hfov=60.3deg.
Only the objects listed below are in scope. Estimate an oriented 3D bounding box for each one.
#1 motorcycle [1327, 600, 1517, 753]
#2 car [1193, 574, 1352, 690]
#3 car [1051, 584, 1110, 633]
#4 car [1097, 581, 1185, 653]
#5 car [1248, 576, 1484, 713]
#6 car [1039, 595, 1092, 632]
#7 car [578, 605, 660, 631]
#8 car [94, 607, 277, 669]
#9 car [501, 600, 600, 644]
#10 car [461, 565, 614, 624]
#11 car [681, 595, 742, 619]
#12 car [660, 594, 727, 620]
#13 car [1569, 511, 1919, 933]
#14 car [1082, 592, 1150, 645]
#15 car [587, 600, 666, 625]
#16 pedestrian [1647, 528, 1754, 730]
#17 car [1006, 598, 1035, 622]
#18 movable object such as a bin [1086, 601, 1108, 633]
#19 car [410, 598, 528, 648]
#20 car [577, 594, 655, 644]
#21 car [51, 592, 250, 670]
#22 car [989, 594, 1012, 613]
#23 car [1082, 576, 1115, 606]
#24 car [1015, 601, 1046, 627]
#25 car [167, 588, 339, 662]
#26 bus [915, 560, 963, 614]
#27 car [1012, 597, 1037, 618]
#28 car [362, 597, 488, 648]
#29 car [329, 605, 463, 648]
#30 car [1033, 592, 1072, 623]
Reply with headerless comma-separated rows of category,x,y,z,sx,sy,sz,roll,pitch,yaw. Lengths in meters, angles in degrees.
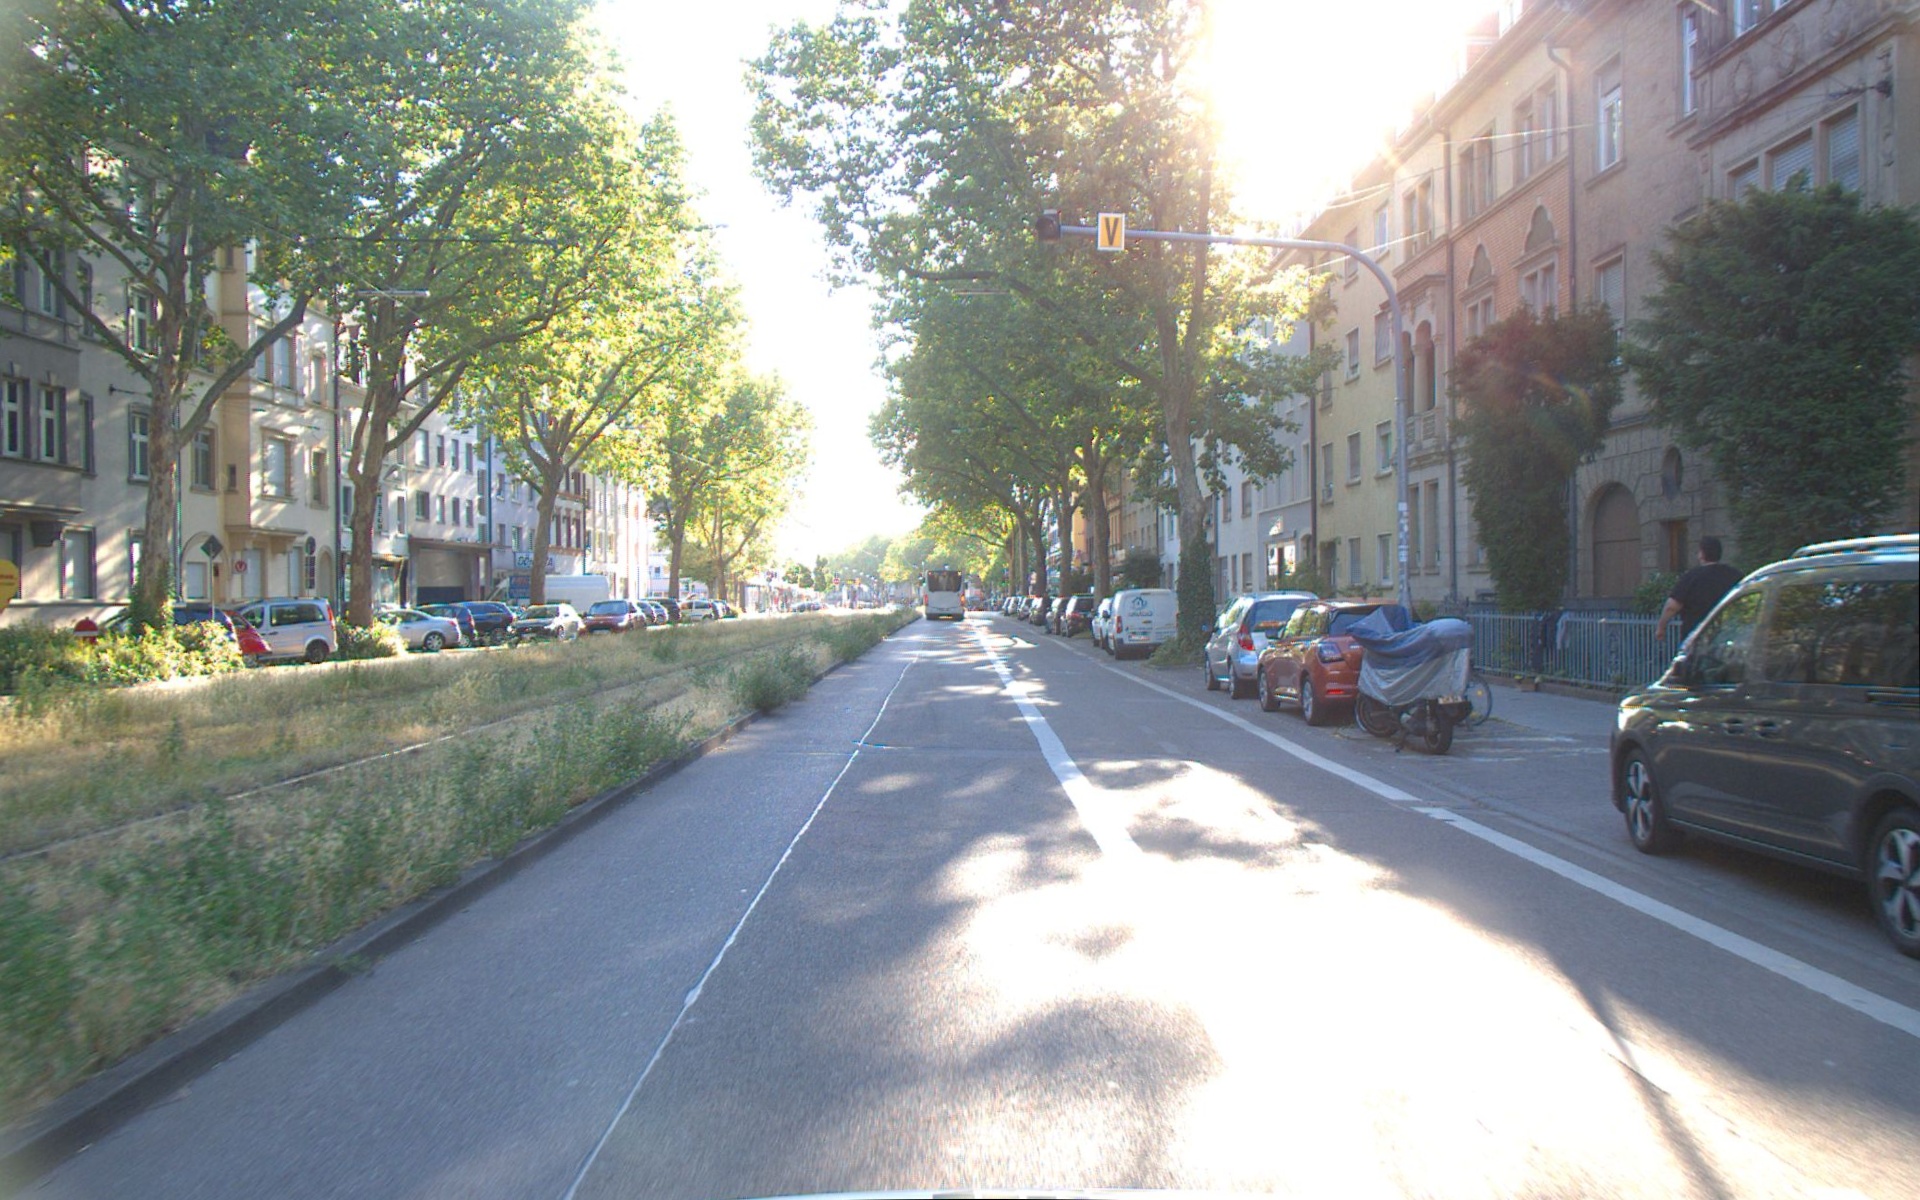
motorcycle,4.704,0.730,17.066,0.809,1.422,2.372,-2,1,-13
car,4.944,0.496,26.647,1.709,1.720,3.850,0,-1,-2
car,4.547,0.339,63.019,1.709,1.801,4.986,0,-1,-2
car,4.738,0.463,43.861,1.709,1.801,4.392,0,-1,-2
car,5.110,0.541,21.376,1.953,1.587,3.978,0,-1,-2
car,4.425,0.584,69.865,1.652,1.512,3.996,0,-1,-5
car,-19.529,1.021,94.847,4.274,1.483,1.830,0,-1,-41
car,-19.535,0.930,41.789,3.962,1.474,1.563,0,-1,-40
car,-14.546,0.784,59.047,1.708,1.485,4.928,-1,-1,8
car,-20.081,-0.234,78.622,6.839,2.725,2.171,0,-1,-22
car,-18.715,0.546,124.511,4.274,1.768,1.830,0,-1,-41
car,-18.400,0.462,114.084,4.274,1.768,1.830,0,-1,-41
car,5.162,0.548,8.816,1.953,1.862,4.755,0,-1,-2
car,4.692,0.525,50.233,1.612,1.512,3.999,-1,0,-1
car,-19.782,0.738,98.088,4.274,1.483,1.830,0,-1,-41
pedestrian,7.414,0.279,16.589,0.696,1.971,0.815,0,0,0
car,4.050,0.656,111.820,1.744,1.542,3.999,-1,0,-1
movable object such as a bin,4.729,0.583,57.149,0.660,1.064,0.880,-1,1,-1
car,-18.658,0.858,62.900,3.950,1.728,1.835,-2,0,-33
car,-11.466,0.604,55.318,1.753,1.601,4.000,-1,0,0
car,-19.115,0.710,39.117,3.962,1.754,1.759,0,-1,-40
car,3.246,0.268,132.651,1.744,1.542,3.999,-1,0,-1
car,9.281,-0.591,111.104,1.845,1.892,4.325,0,-1,-1
car,4.398,0.836,103.528,1.744,1.542,3.999,-1,0,-1
car,-19.332,0.668,45.273,3.962,1.915,1.971,0,-1,-40
bus,-1.401,-0.778,106.780,2.777,3.292,8.177,0,-1,-3
car,4.938,0.553,126.587,1.744,1.542,3.999,-1,0,-1
car,-19.251,0.786,59.515,3.950,1.580,1.836,-4,2,-33
car,-18.598,0.861,54.590,3.949,1.380,1.568,0,-1,-33
car,4.768,0.397,85.876,1.744,1.542,3.999,-1,0,-1
